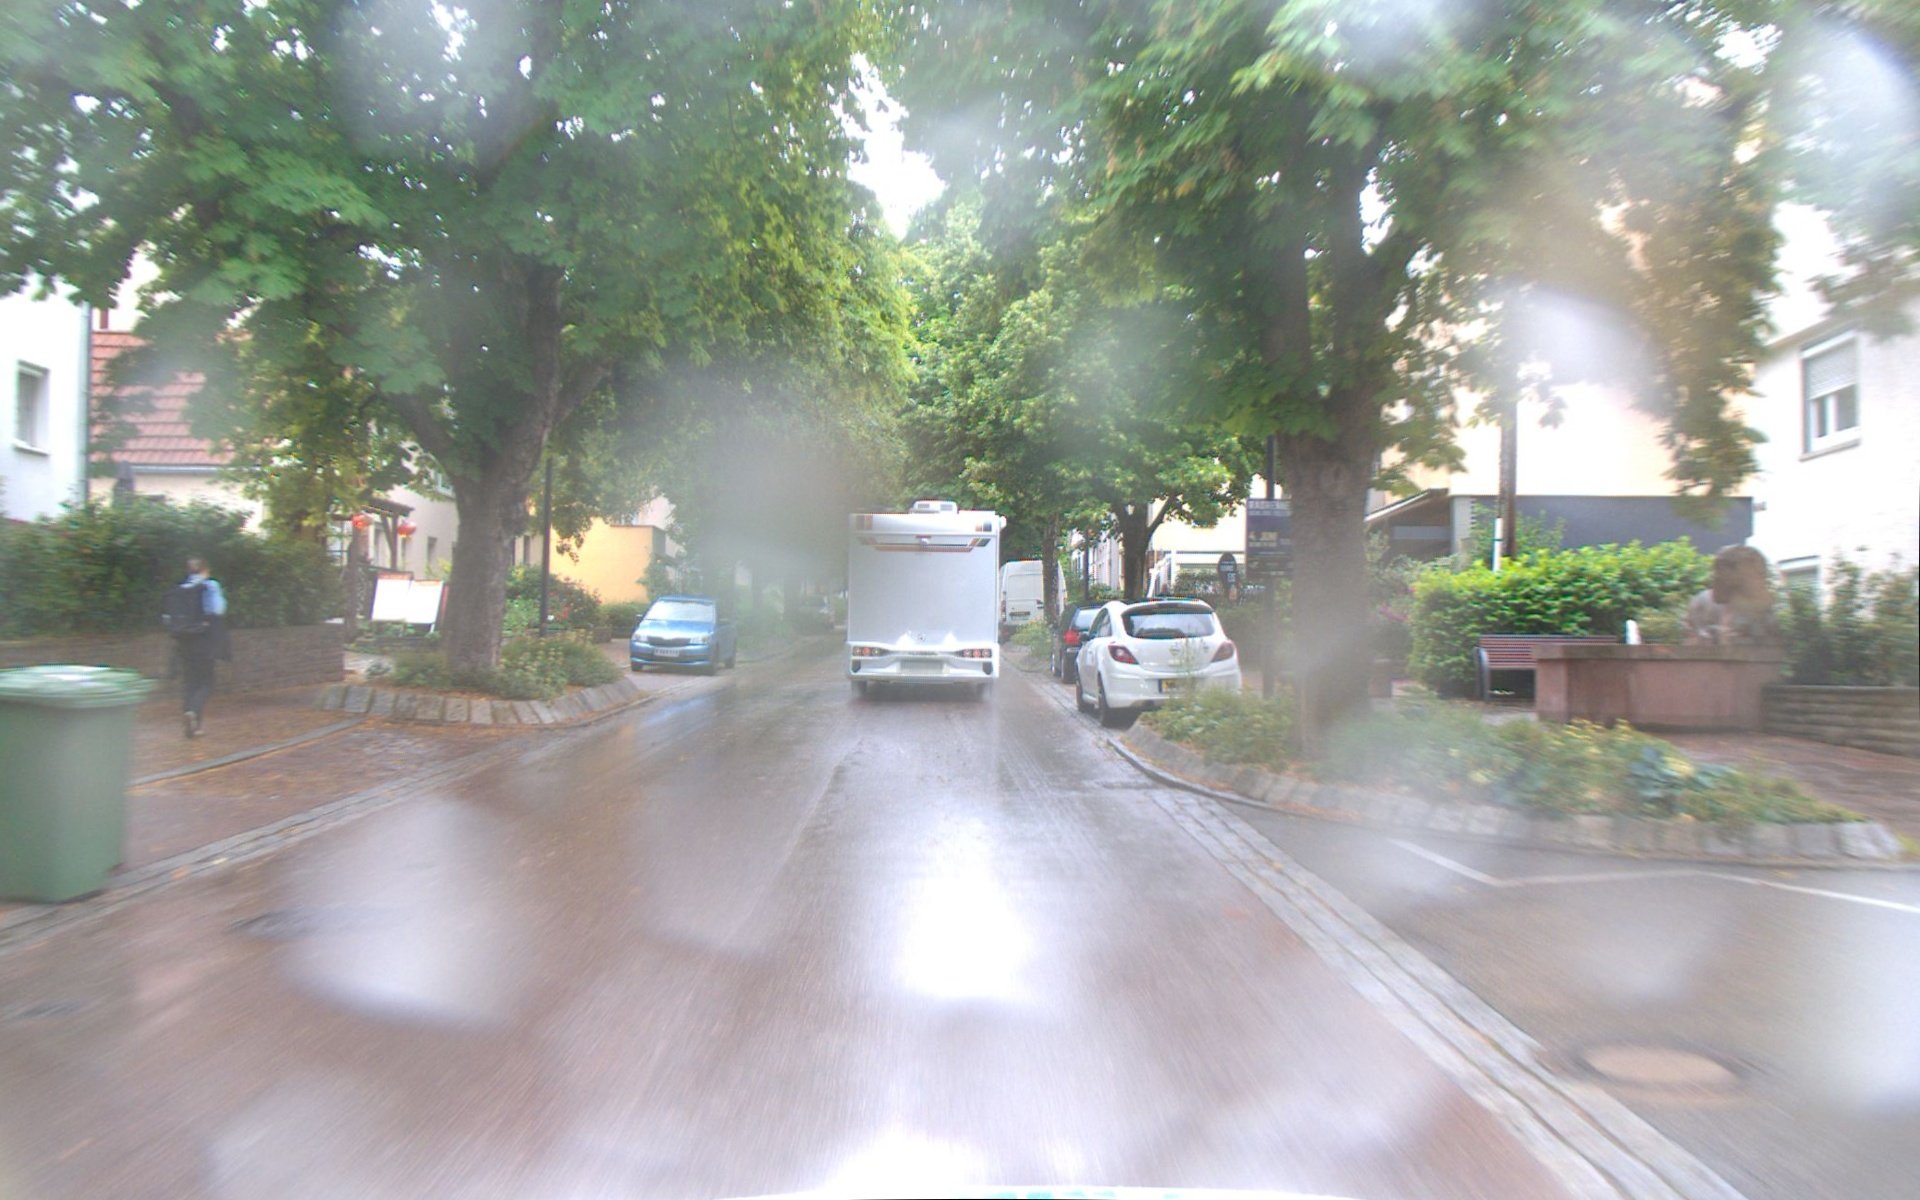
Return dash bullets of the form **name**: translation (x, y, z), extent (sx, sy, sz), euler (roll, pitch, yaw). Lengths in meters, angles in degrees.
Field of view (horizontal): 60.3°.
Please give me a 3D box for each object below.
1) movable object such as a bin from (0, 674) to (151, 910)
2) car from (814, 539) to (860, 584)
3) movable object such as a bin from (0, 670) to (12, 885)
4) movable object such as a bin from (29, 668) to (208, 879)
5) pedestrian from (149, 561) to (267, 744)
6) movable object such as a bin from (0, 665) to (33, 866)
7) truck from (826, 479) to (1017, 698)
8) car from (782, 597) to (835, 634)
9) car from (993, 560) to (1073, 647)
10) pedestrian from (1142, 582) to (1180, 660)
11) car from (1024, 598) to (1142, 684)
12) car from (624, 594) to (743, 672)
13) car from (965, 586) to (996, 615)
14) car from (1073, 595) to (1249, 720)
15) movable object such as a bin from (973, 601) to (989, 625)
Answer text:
- **movable object such as a bin**: translation (-4.450, 0.919, 8.110), extent (0.649, 1.093, 0.596), euler (0, -1, 3)
- **car**: translation (-5.942, -1.840, 80.129), extent (1.953, 2.049, 3.999), euler (1, 0, -1)
- **movable object such as a bin**: translation (-5.219, 0.903, 8.220), extent (0.649, 1.093, 0.596), euler (0, -1, 3)
- **movable object such as a bin**: translation (-4.548, 0.921, 8.969), extent (0.649, 1.086, 0.596), euler (0, -1, 3)
- **pedestrian**: translation (-6.910, 0.471, 15.234), extent (0.636, 1.622, 0.932), euler (1, 0, -1)
- **movable object such as a bin**: translation (-5.579, 0.913, 9.057), extent (0.649, 1.093, 0.596), euler (0, -1, 3)
- **truck**: translation (-0.591, -0.156, 26.348), extent (2.640, 3.038, 6.235), euler (1, 0, -1)
- **car**: translation (-6.325, 0.617, 69.524), extent (1.736, 1.413, 4.545), euler (2, 0, 0)
- **car**: translation (2.184, 0.104, 50.982), extent (2.097, 2.503, 5.434), euler (1, 0, -1)
- **pedestrian**: translation (4.547, 0.472, 37.490), extent (0.751, 1.762, 0.492), euler (0, 0, -7)
- **car**: translation (2.183, 0.707, 30.204), extent (1.772, 1.435, 3.782), euler (1, 0, -1)
- **car**: translation (-5.430, 0.622, 32.852), extent (1.714, 1.420, 3.795), euler (1, 0, 0)
- **car**: translation (1.306, 0.008, 107.657), extent (1.875, 1.823, 4.487), euler (1, 0, -1)
- **car**: translation (2.446, 0.663, 20.937), extent (1.646, 1.424, 3.793), euler (0, 0, -2)
- **movable object such as a bin**: translation (0.976, 0.616, 77.630), extent (0.674, 1.101, 0.540), euler (1, 0, -5)
